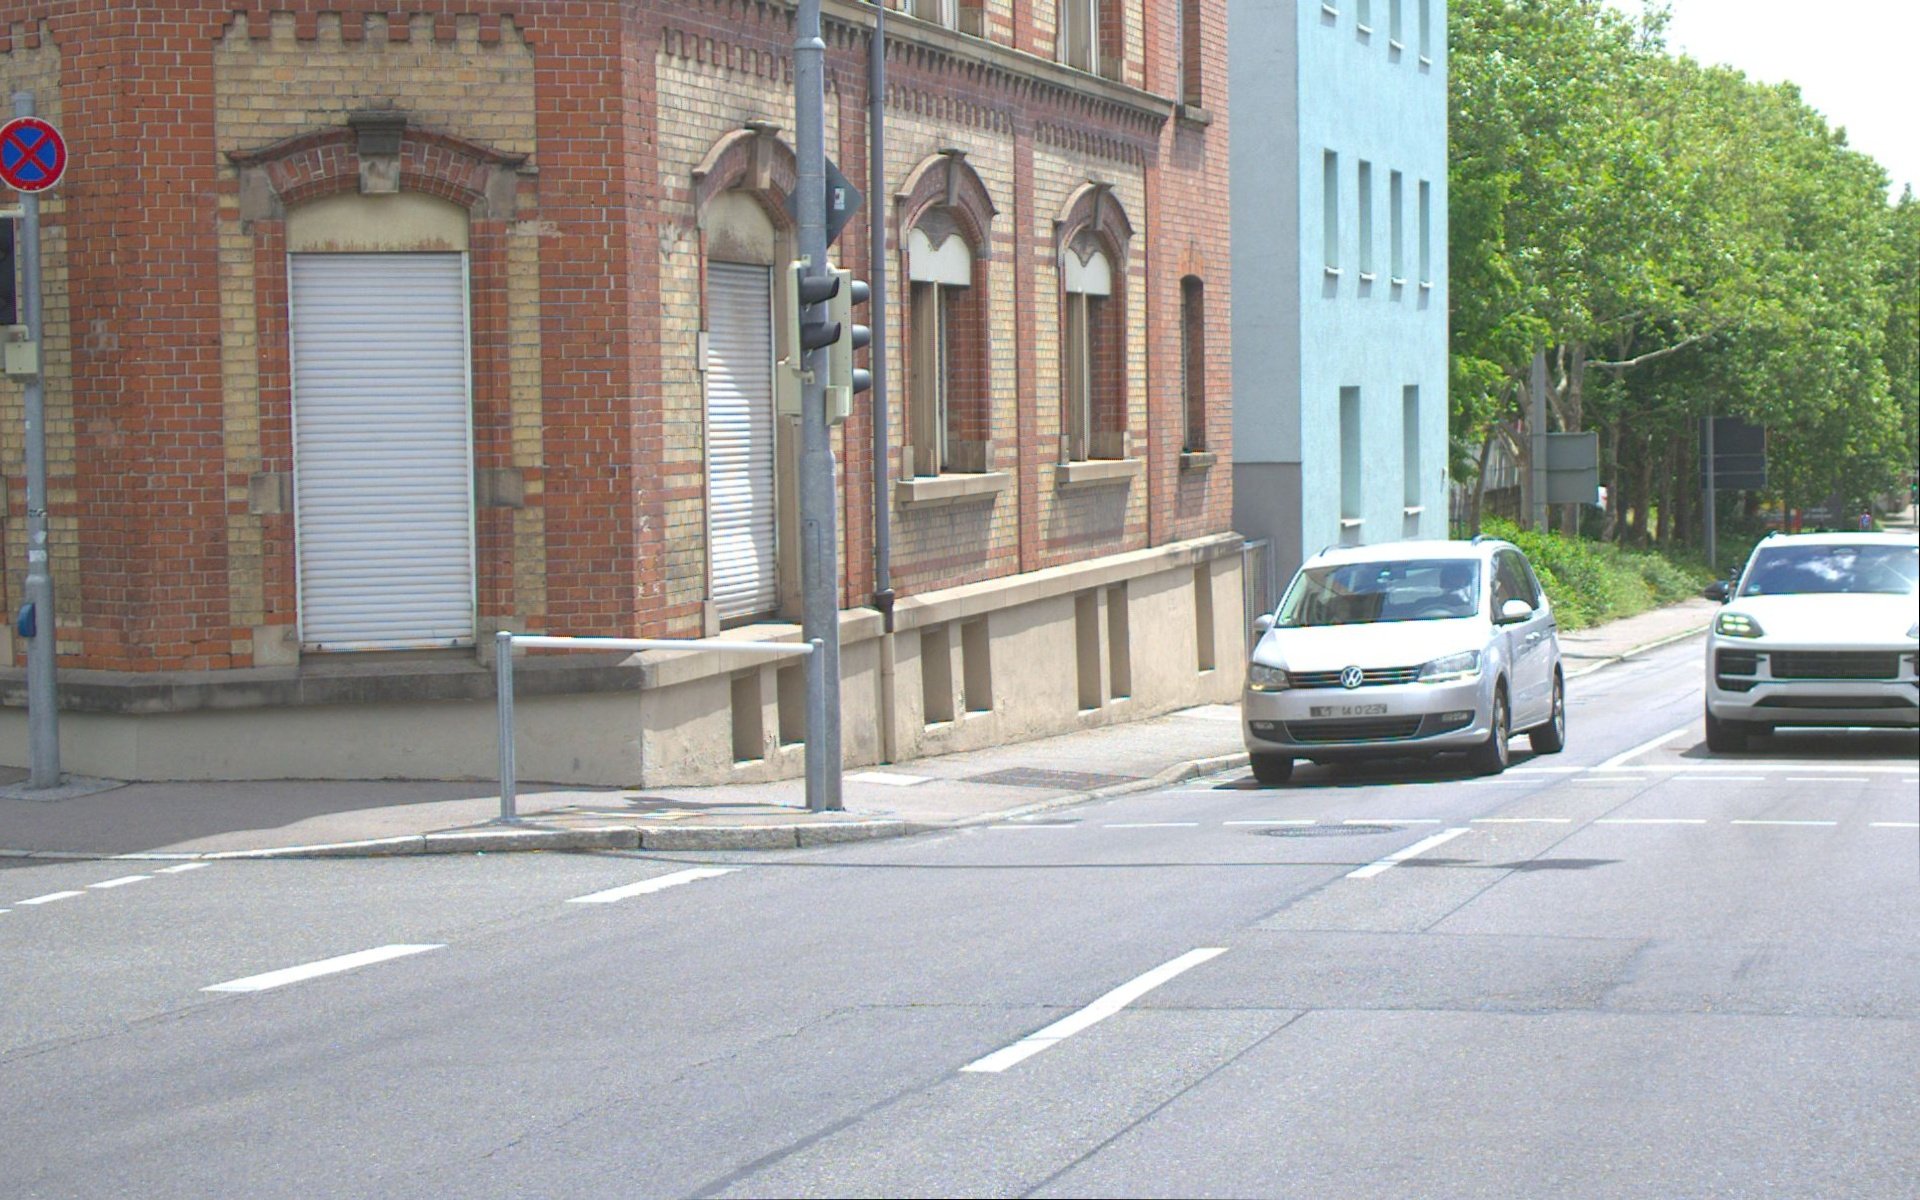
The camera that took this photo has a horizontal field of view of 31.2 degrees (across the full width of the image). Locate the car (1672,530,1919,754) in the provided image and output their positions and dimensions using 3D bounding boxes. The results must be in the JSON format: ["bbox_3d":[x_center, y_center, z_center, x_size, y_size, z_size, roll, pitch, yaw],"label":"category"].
[{"bbox_3d":[6.949,0.262,27.117,2.209,1.607,4.543,0,1,17],"label":"car"}]

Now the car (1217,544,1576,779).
[{"bbox_3d":[3.338,0.387,25.544,1.937,1.558,4.385,0,1,17],"label":"car"}]
